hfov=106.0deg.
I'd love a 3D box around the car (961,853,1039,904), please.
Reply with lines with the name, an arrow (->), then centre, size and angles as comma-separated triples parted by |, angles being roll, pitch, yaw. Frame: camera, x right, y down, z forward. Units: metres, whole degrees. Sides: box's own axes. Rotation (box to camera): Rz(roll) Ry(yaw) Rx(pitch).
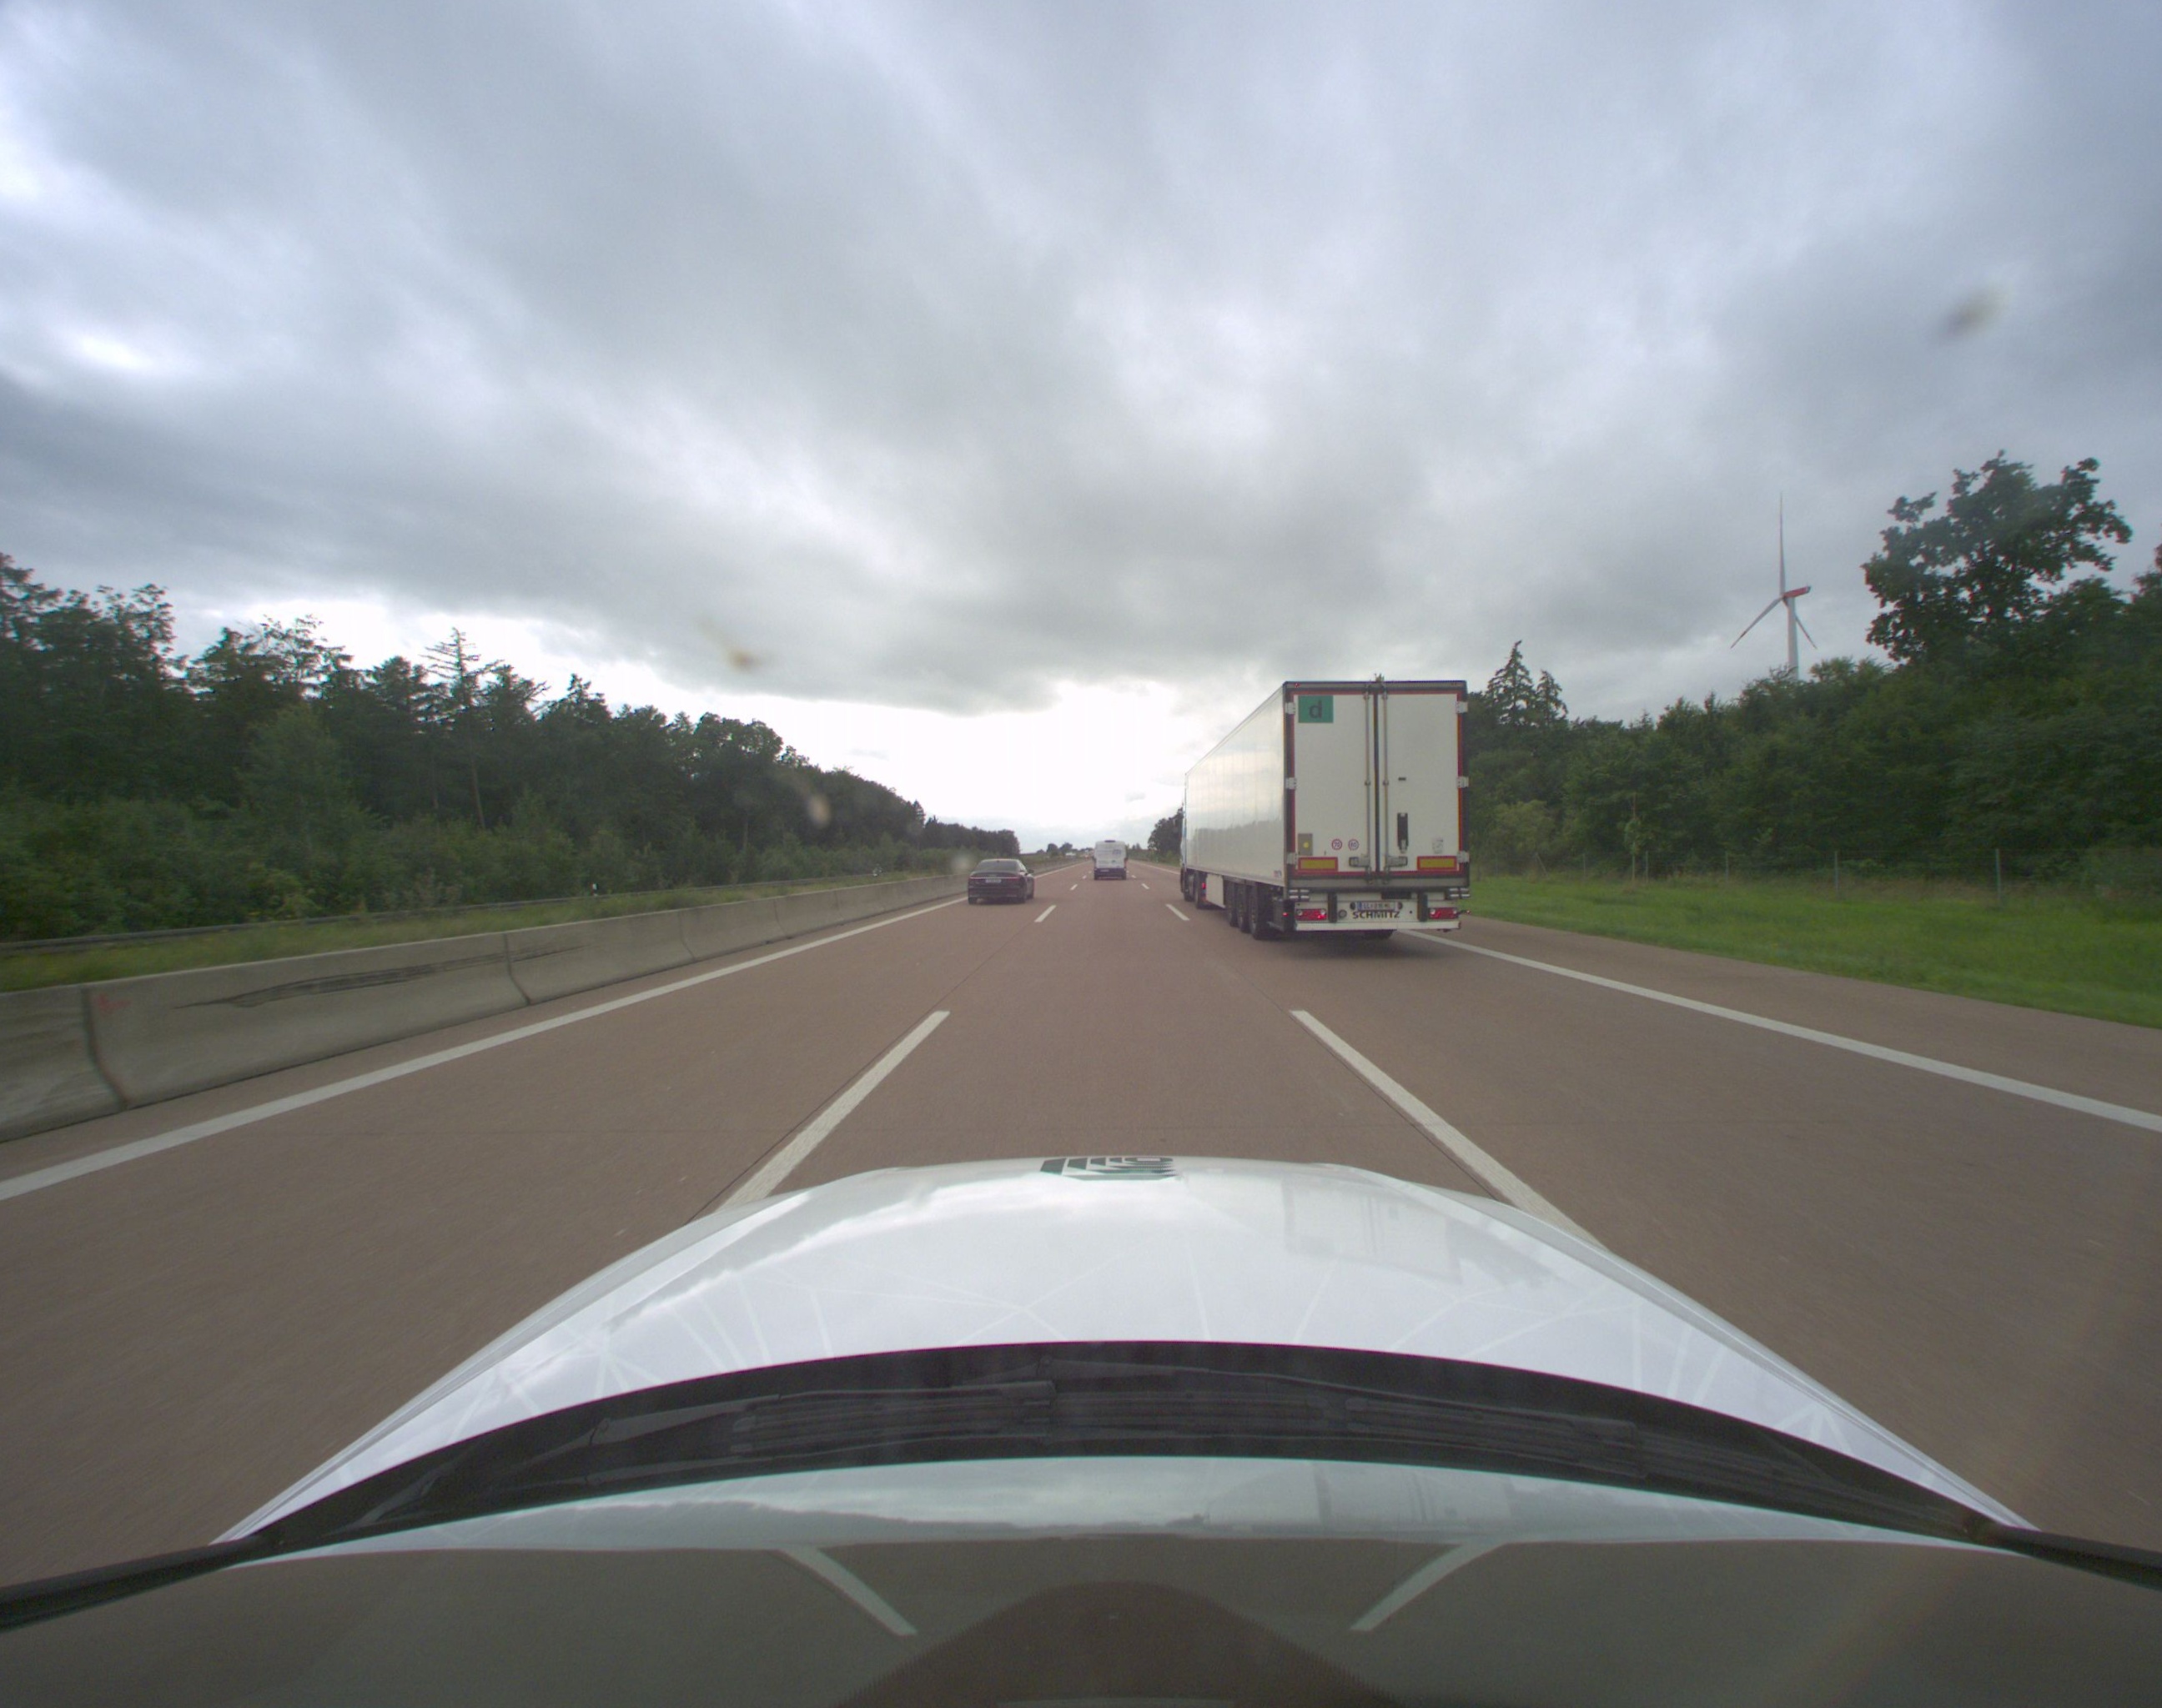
car -> -2.668, 0.768, 28.211 | 2.078, 1.550, 5.674 | 0, 0, 0

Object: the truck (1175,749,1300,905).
truck -> 4.655, -0.749, 25.256 | 2.911, 4.294, 5.336 | -1, 0, 1

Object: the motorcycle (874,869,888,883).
motorcycle -> -17.417, 1.898, 71.035 | 0.598, 1.155, 2.155 | 0, 0, 2

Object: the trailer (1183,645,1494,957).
trailer -> 4.429, -0.728, 18.129 | 2.910, 4.294, 13.618 | -1, 0, 2

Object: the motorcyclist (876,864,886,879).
motorcyclist -> -17.410, 1.539, 70.859 | 0.592, 1.283, 0.802 | 0, 0, 1

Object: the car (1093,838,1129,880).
car -> 1.958, 0.273, 52.962 | 2.129, 2.507, 7.135 | -1, 0, 2
